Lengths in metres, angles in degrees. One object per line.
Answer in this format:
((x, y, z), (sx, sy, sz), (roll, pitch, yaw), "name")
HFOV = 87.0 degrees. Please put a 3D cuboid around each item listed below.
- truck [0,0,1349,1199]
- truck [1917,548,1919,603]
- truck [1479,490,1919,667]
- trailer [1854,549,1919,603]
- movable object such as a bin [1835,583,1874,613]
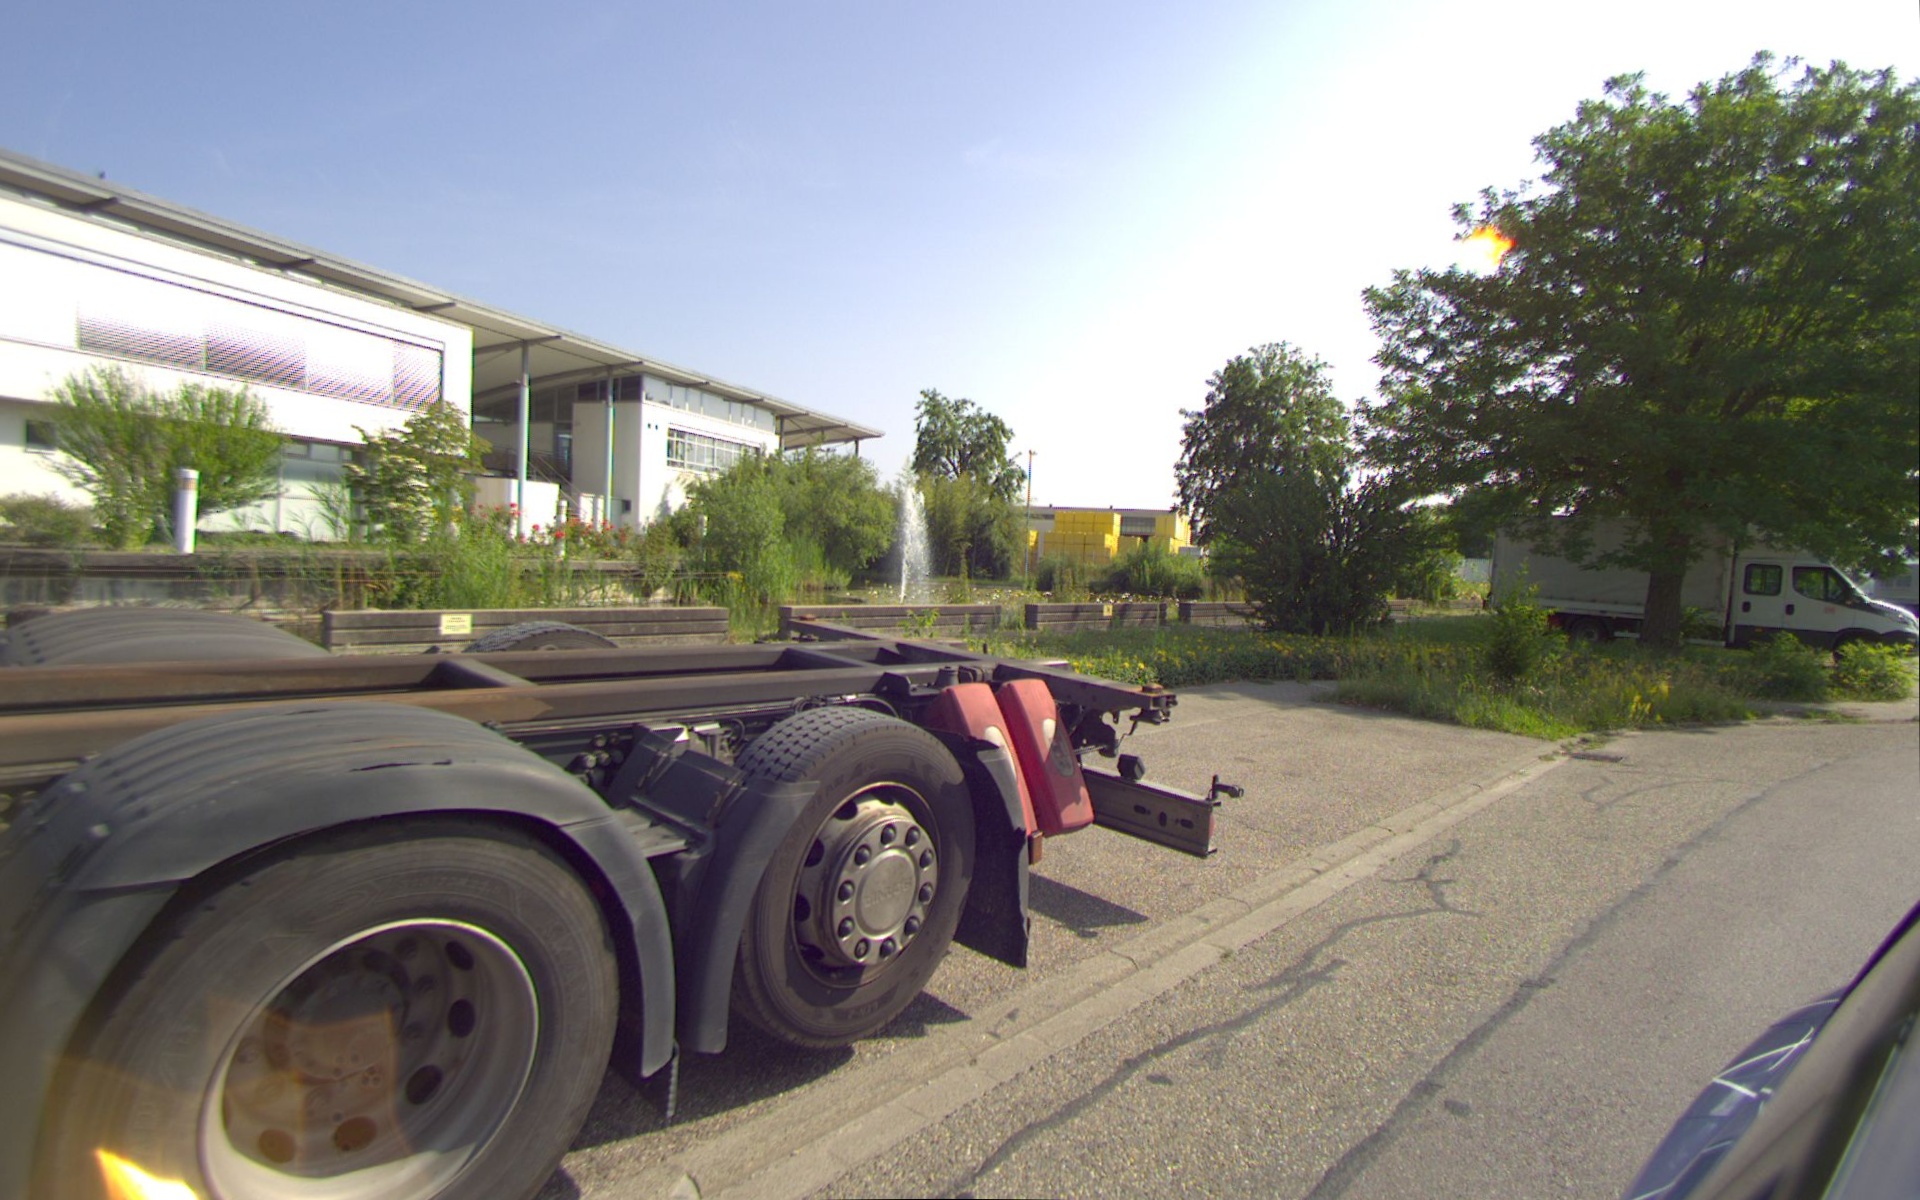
((-2.820, -0.632, 1.709), (2.890, 3.575, 9.606), (9, 7, 42), "truck")
((75.199, -1.785, 75.709), (3.363, 4.259, 6.047), (1, 2, 25), "truck")
((16.702, -0.713, 22.981), (8.207, 3.410, 2.700), (5, 5, 42), "truck")
((77.831, -1.990, 82.069), (3.460, 4.259, 14.128), (1, 2, 23), "trailer")
((100.981, -0.232, 114.306), (2.421, 3.047, 5.683), (5, 4, 34), "movable object such as a bin")
